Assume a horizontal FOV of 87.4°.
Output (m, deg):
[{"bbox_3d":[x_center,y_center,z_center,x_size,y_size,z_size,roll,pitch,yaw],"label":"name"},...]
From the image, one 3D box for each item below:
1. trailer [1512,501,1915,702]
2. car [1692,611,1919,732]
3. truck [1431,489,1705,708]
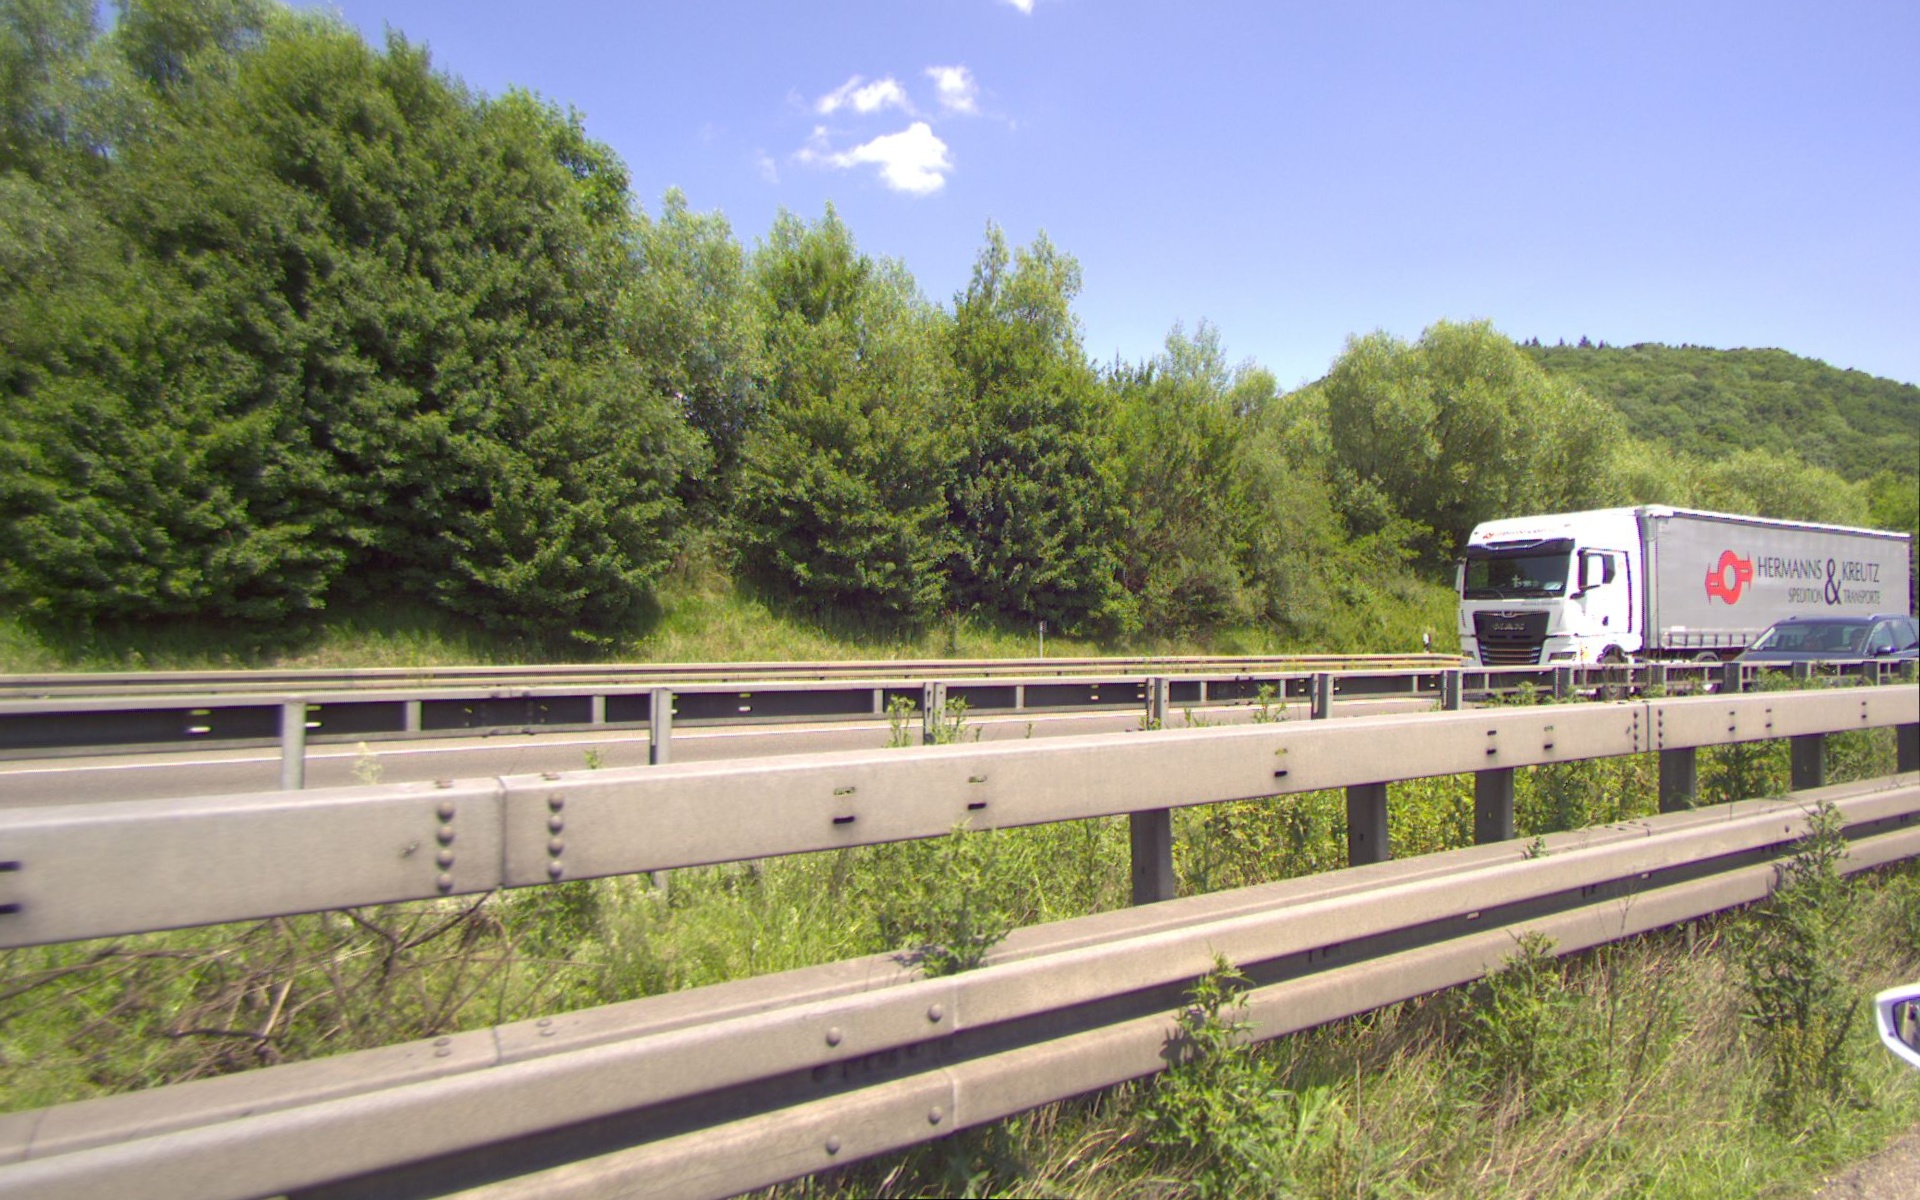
[{"bbox_3d":[19.240,0.149,25.035,13.992,4.053,2.769,1,0,-30],"label":"trailer"},{"bbox_3d":[14.811,1.140,17.326,4.548,1.820,1.912,1,0,-31],"label":"car"},{"bbox_3d":[12.800,0.037,21.128,5.306,4.054,2.716,1,-1,-30],"label":"truck"}]
